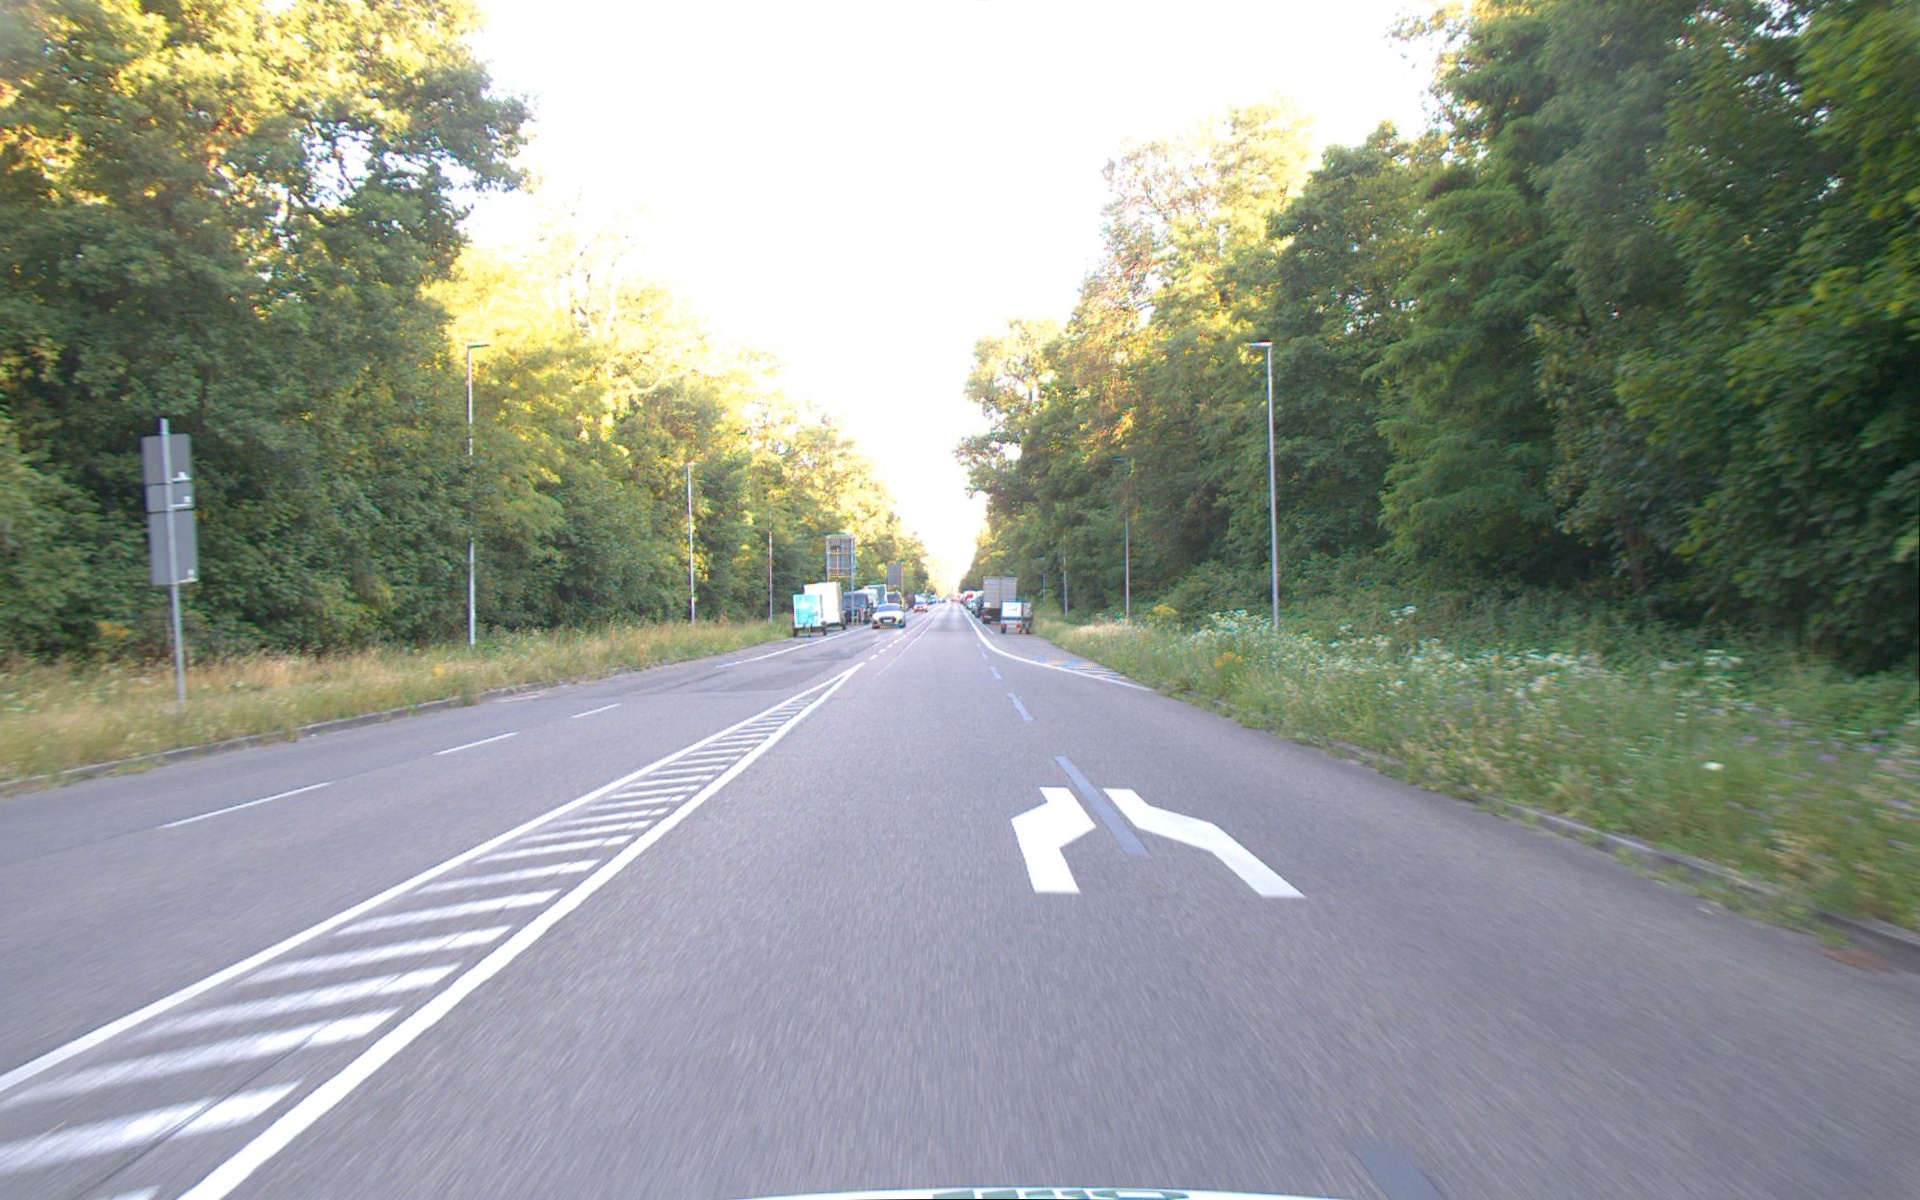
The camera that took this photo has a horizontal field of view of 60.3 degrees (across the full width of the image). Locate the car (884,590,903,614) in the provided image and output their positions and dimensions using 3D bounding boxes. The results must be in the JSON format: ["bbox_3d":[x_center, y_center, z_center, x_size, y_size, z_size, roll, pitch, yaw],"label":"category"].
[{"bbox_3d":[-8.137,0.225,202.935,2.142,2.837,5.333,-2,0,0],"label":"car"}]

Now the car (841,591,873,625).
[{"bbox_3d":[-7.831,0.558,126.016,1.953,2.405,5.765,-4,0,0],"label":"car"}]

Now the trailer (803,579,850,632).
[{"bbox_3d":[-8.007,0.329,99.858,2.279,2.975,5.626,-3,0,-1],"label":"trailer"}]

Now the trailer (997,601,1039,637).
[{"bbox_3d":[2.971,0.939,84.329,1.425,1.691,3.780,-2,0,13],"label":"trailer"}]

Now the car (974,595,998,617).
[{"bbox_3d":[2.324,0.533,150.435,1.953,1.989,4.297,0,0,-3],"label":"car"}]

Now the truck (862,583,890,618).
[{"bbox_3d":[-8.488,0.071,168.287,2.453,3.387,6.841,-2,0,0],"label":"truck"}]

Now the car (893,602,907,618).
[{"bbox_3d":[-8.088,1.405,224.563,1.665,2.049,3.999,-3,-1,-1],"label":"car"}]

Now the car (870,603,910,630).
[{"bbox_3d":[-4.248,0.984,101.206,2.021,1.460,4.467,-3,0,2],"label":"car"}]

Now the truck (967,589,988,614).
[{"bbox_3d":[1.909,0.186,182.270,2.098,2.706,4.297,0,0,-3],"label":"truck"}]

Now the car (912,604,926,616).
[{"bbox_3d":[-5.208,1.257,209.634,1.649,1.512,4.036,-2,0,-2],"label":"car"}]

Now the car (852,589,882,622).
[{"bbox_3d":[-8.005,0.428,142.716,2.203,2.694,5.720,-2,0,0],"label":"car"}]

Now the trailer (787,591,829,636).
[{"bbox_3d":[-7.704,0.675,84.249,1.780,2.205,4.142,-2,0,-1],"label":"trailer"}]

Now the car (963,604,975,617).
[{"bbox_3d":[1.028,1.162,189.245,1.125,1.272,2.753,-8,1,-3],"label":"car"}]

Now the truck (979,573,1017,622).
[{"bbox_3d":[2.663,-0.168,116.536,2.535,3.312,7.221,0,0,1],"label":"truck"}]

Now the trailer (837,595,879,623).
[{"bbox_3d":[-8.442,0.711,137.183,1.922,2.192,3.930,-2,0,21],"label":"trailer"}]
